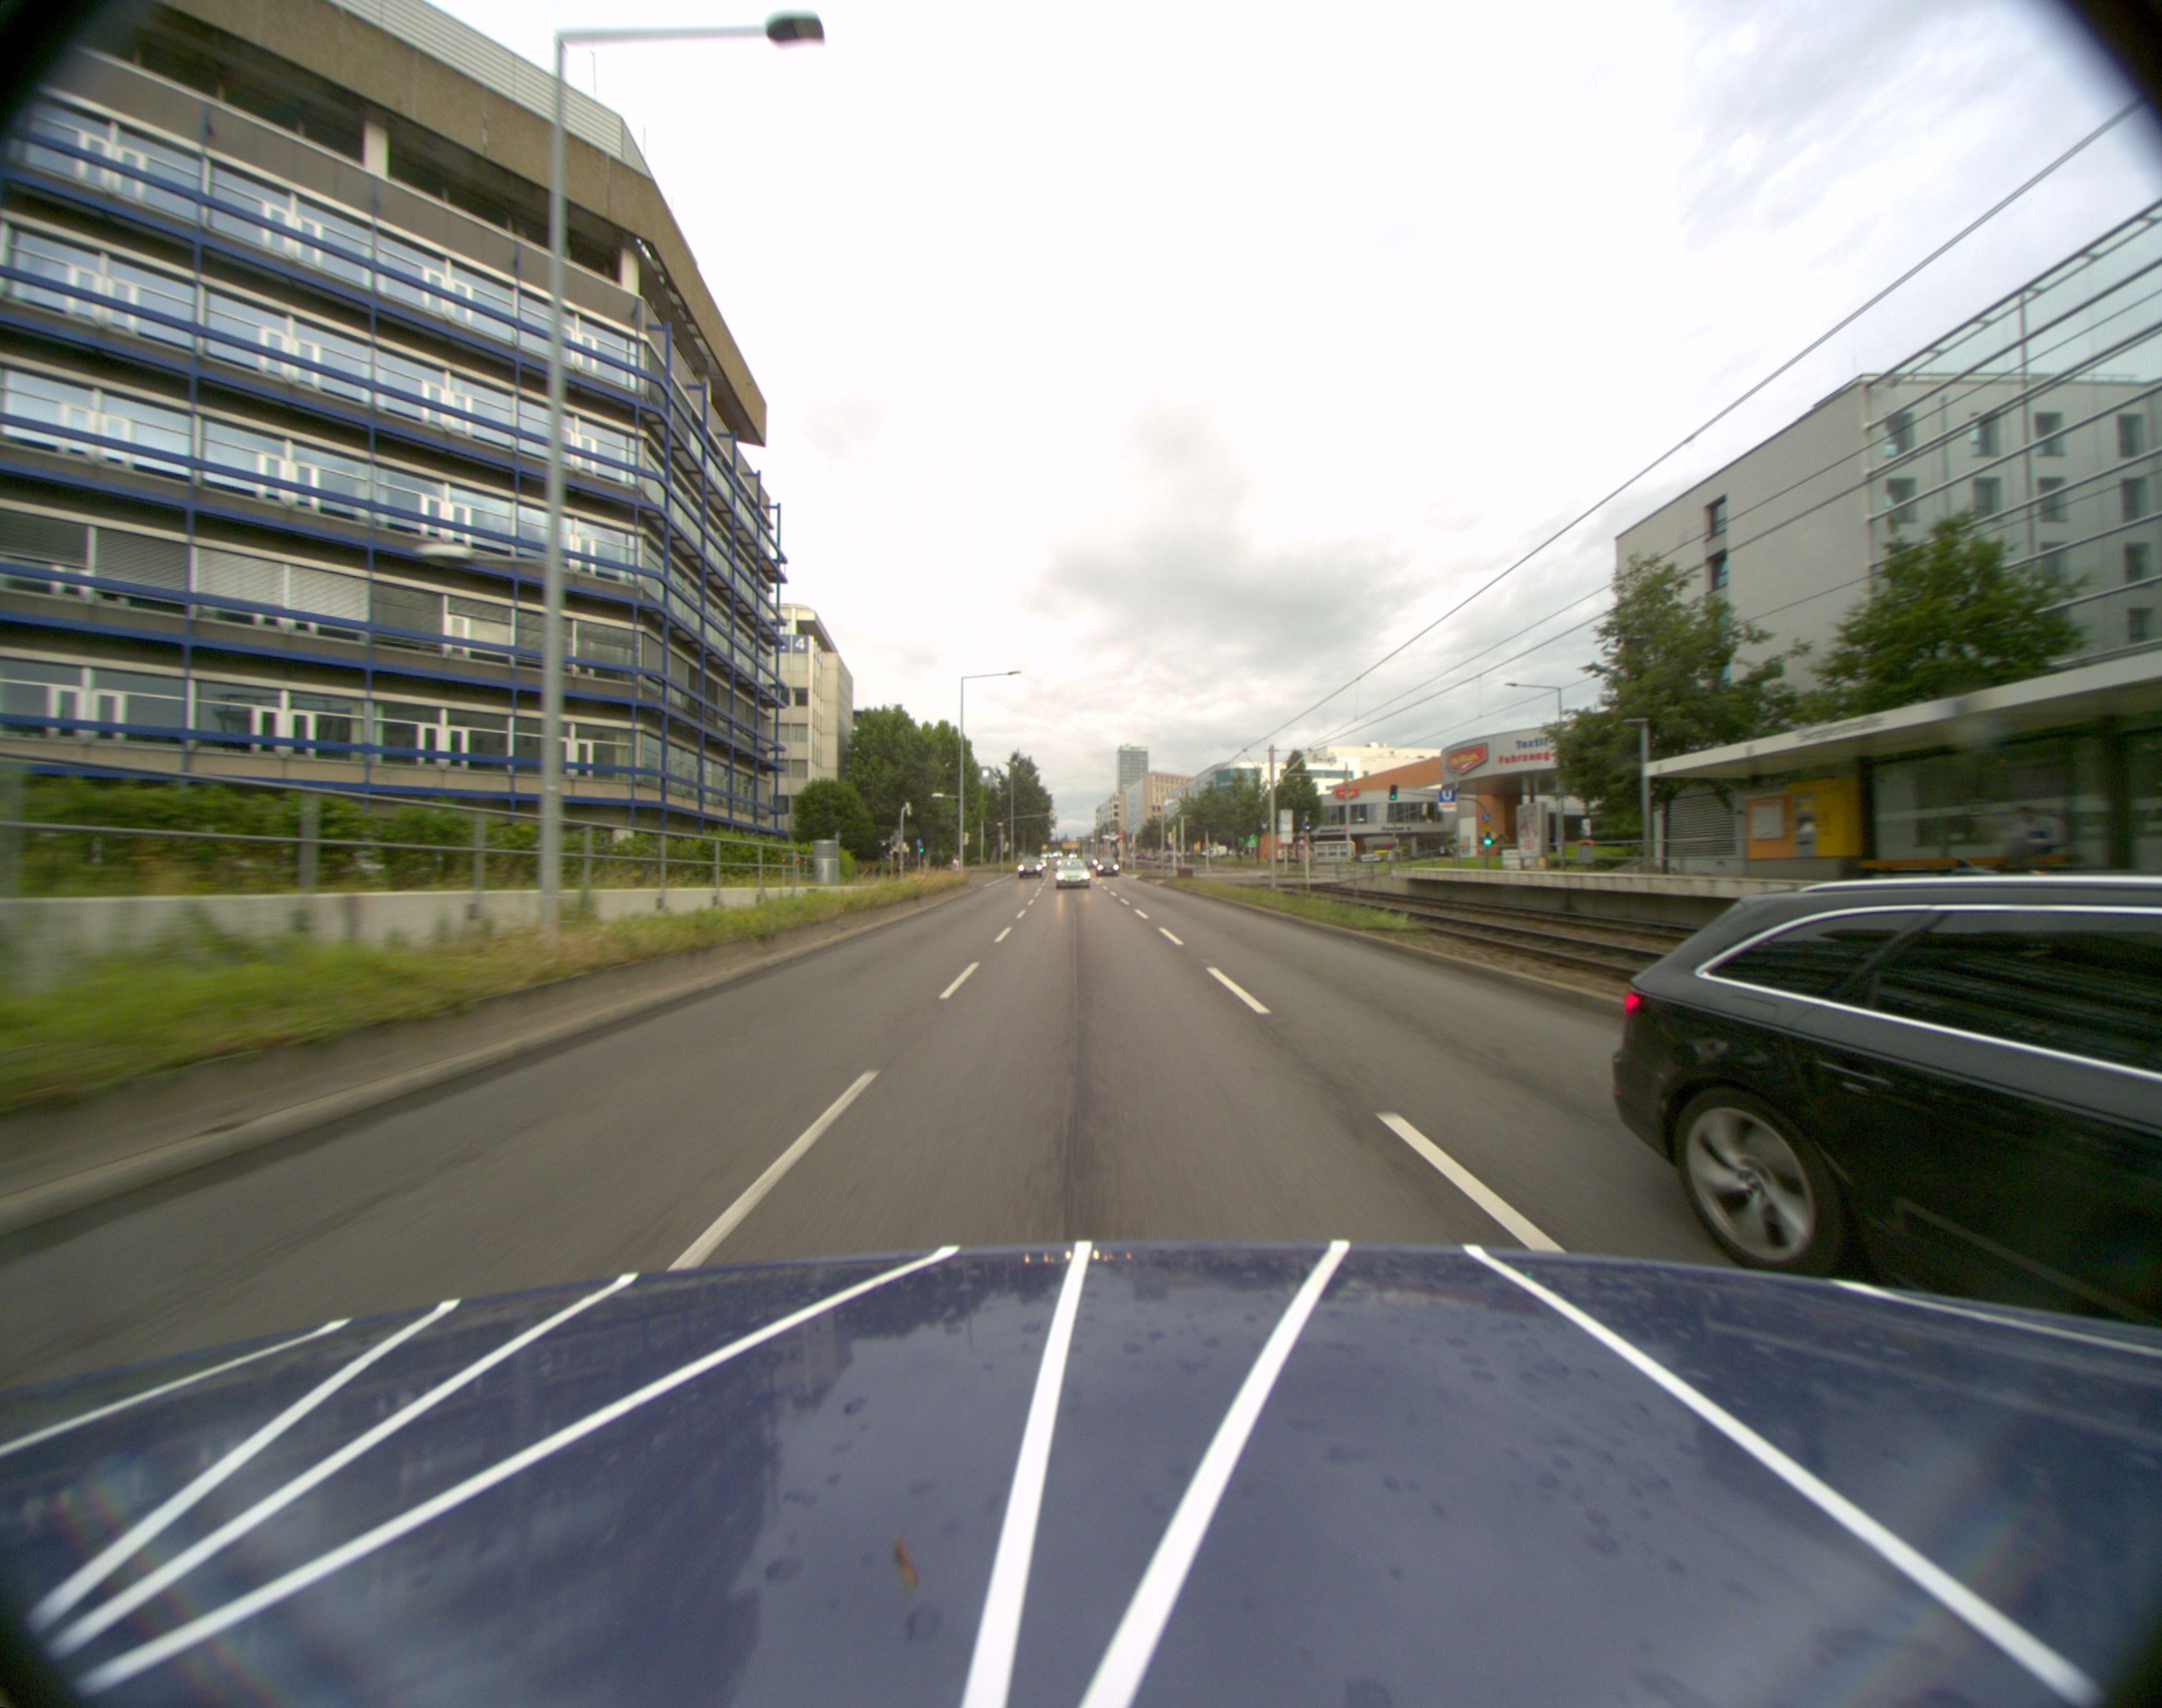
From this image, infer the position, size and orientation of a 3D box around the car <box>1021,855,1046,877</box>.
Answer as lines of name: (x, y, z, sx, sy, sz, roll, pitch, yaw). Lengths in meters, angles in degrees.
car: (-3.782, 0.947, 61.388, 1.816, 1.660, 4.547, -2, 0, -2)

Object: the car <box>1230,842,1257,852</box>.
car: (36.346, -1.615, 170.144, 5.484, 1.915, 2.277, -2, 1, -8)

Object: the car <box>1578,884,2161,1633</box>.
car: (3.108, 0.884, 1.033, 1.794, 1.426, 4.828, -1, 0, 2)

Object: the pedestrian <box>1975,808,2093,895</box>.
pedestrian: (14.686, -0.033, 11.730, 0.964, 1.292, 0.684, -1, 1, 0)

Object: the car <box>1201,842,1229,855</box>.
car: (29.795, -1.187, 168.915, 5.488, 2.614, 2.275, -3, 1, -19)

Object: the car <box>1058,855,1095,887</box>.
car: (-0.286, 0.875, 40.411, 1.804, 1.533, 4.373, -2, 0, -2)

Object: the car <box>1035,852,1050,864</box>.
car: (-4.989, 0.476, 99.737, 1.873, 1.533, 4.106, -2, 0, -2)

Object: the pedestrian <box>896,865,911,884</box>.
pedestrian: (-14.546, 1.692, 62.272, 0.901, 1.532, 0.801, 0, 1, 38)

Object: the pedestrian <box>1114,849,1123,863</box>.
pedestrian: (4.187, 0.233, 85.604, 0.704, 1.641, 0.648, -2, 1, -30)

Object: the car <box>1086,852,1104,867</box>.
car: (1.626, 0.598, 89.373, 1.781, 1.670, 4.130, -2, 0, -2)

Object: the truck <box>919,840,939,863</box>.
truck: (-17.599, -0.283, 88.239, 1.751, 2.503, 3.997, -2, 1, -5)

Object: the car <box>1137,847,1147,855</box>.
car: (14.263, -0.637, 178.338, 1.999, 1.764, 4.388, -1, 1, -1)

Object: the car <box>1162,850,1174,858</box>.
car: (16.426, 0.025, 143.199, 1.733, 1.415, 3.778, -1, 1, -2)

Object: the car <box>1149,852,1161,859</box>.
car: (15.710, 0.367, 161.001, 1.858, 1.419, 4.387, 1, 0, -4)

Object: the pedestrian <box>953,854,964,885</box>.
pedestrian: (-6.557, 0.810, 40.611, 0.556, 1.643, 0.831, -1, 1, -11)

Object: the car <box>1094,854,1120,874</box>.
car: (2.053, 0.743, 61.126, 1.799, 1.493, 3.999, -2, 0, -1)

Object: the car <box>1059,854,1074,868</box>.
car: (-1.772, 0.847, 91.614, 1.781, 1.552, 3.739, -2, 0, -2)

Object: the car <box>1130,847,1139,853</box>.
car: (15.385, -1.076, 218.996, 1.999, 1.509, 4.705, -2, 1, -3)

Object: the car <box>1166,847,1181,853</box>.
car: (26.408, -1.068, 216.826, 3.846, 1.482, 1.821, -2, 1, -20)
